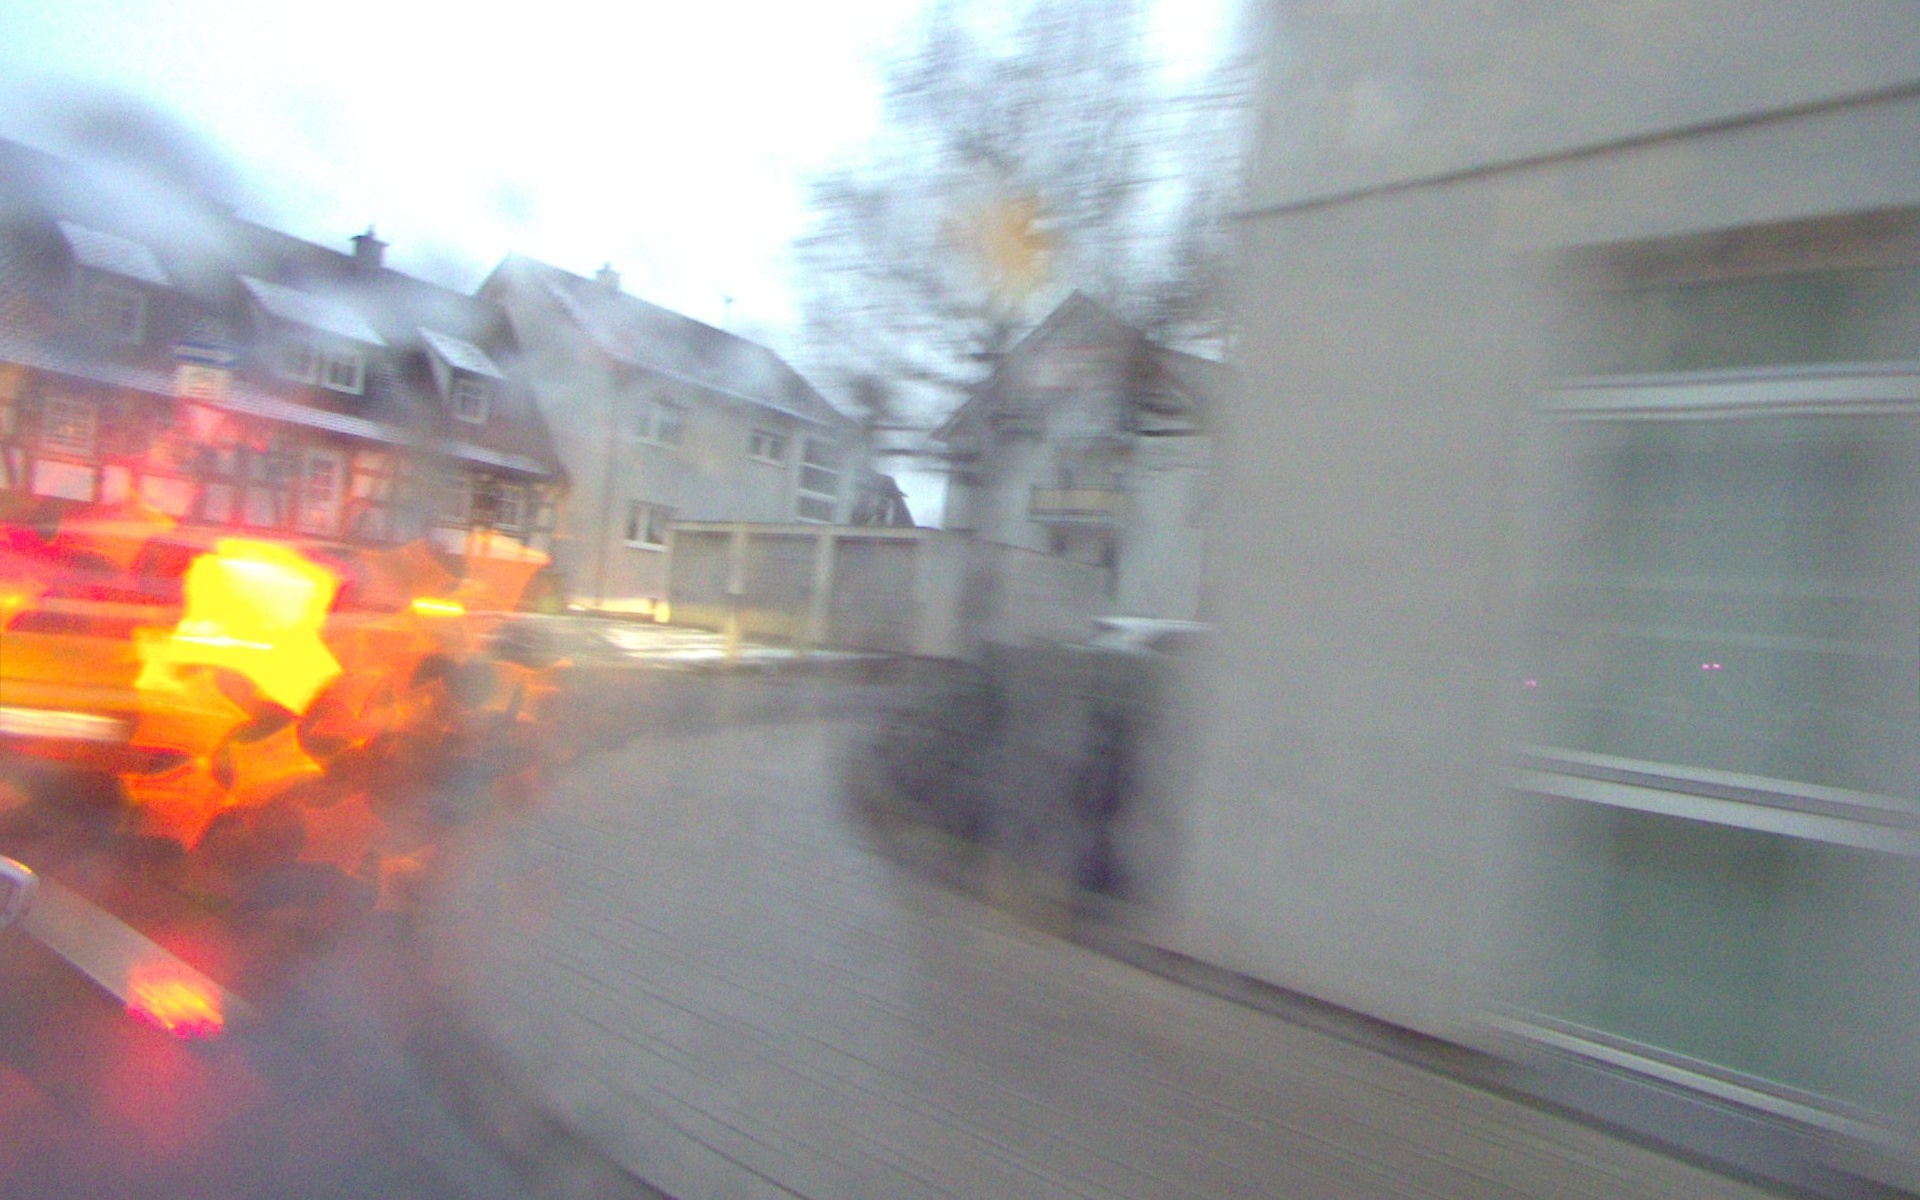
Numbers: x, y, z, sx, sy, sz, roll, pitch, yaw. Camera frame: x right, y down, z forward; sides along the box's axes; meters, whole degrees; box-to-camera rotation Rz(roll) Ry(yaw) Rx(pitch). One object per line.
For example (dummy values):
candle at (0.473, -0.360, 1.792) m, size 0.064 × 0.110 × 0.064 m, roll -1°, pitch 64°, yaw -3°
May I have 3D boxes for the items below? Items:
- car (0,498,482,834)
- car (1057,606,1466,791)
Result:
car at (-4.602, 0.252, 6.486) m, size 1.747 × 1.466 × 3.718 m, roll 6°, pitch 0°, yaw -11°
car at (3.360, 1.074, 11.844) m, size 4.145 × 1.486 × 1.795 m, roll 7°, pitch 1°, yaw 1°
